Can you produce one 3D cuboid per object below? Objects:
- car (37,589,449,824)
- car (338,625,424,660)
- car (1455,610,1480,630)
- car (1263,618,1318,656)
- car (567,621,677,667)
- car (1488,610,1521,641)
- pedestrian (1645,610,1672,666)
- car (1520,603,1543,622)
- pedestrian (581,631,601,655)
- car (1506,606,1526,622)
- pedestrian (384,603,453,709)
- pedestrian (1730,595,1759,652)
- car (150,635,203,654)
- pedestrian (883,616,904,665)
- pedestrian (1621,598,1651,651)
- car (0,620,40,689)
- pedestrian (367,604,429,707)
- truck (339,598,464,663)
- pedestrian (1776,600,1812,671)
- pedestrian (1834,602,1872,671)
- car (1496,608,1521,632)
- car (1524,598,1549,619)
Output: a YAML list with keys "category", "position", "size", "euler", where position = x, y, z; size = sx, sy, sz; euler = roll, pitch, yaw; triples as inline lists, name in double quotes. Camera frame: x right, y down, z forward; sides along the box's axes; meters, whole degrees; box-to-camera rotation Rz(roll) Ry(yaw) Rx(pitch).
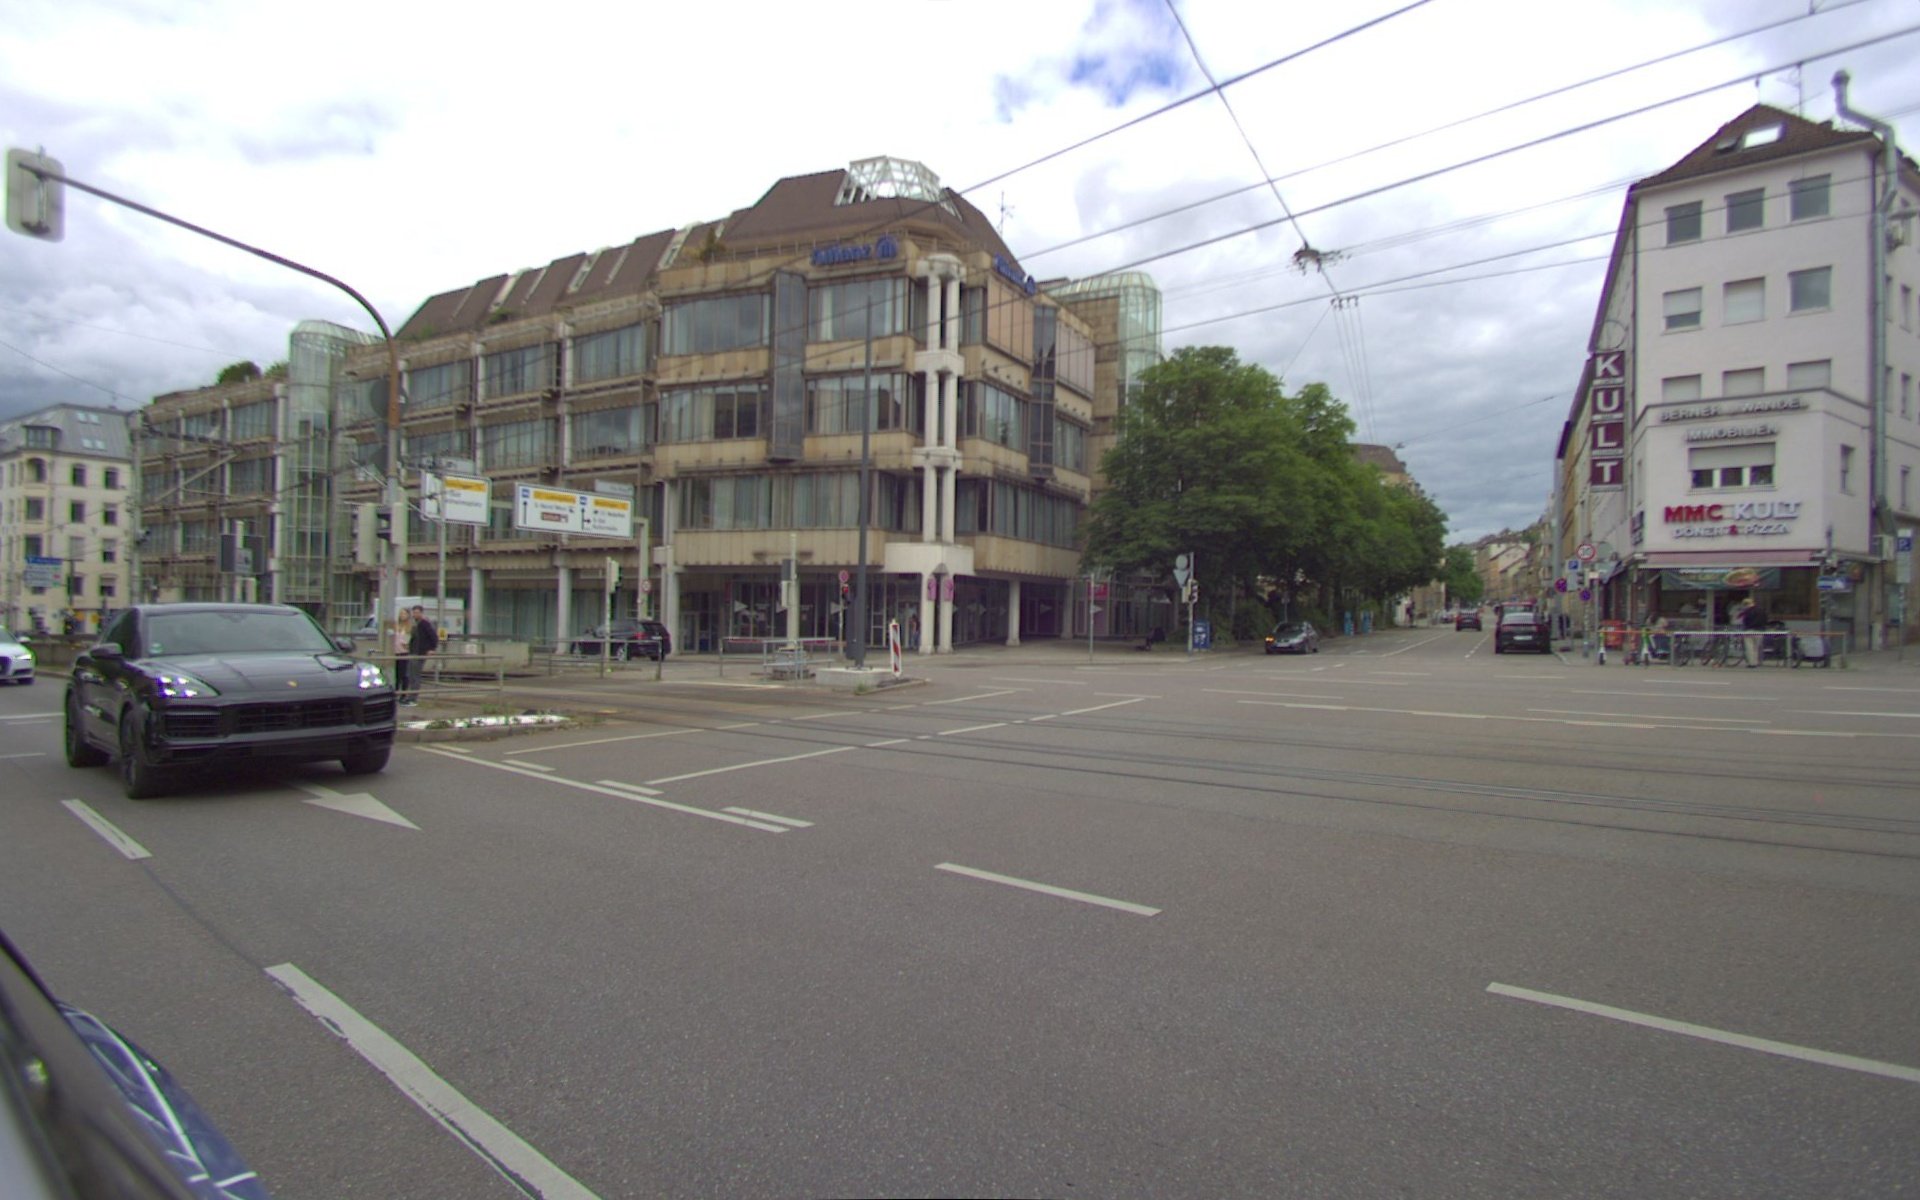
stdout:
- category: "car"
  position: [-7.144, 0.779, 9.805]
  size: [5.349, 1.688, 2.061]
  euler: [0, 0, 41]
- category: "car"
  position: [-26.638, 1.940, 46.520]
  size: [4.523, 1.564, 1.643]
  euler: [-2, -2, 34]
- category: "car"
  position: [45.693, 1.793, 91.095]
  size: [1.917, 1.725, 4.450]
  euler: [-1, -2, 28]
- category: "car"
  position: [14.735, 1.632, 45.009]
  size: [1.939, 1.542, 3.968]
  euler: [-1, 0, 24]
- category: "car"
  position: [-13.957, 1.777, 41.704]
  size: [4.767, 1.772, 1.660]
  euler: [-1, -1, 33]
- category: "car"
  position: [36.931, 1.759, 68.600]
  size: [1.645, 1.724, 3.609]
  euler: [0, -7, 33]
- category: "pedestrian"
  position: [22.750, 1.236, 32.961]
  size: [0.503, 1.793, 0.578]
  euler: [1, -2, -39]
- category: "car"
  position: [53.940, 1.168, 95.455]
  size: [1.645, 1.725, 3.609]
  euler: [-2, -2, 33]
- category: "pedestrian"
  position: [-19.909, 2.313, 54.560]
  size: [0.738, 1.275, 0.724]
  euler: [-1, -1, 34]
- category: "car"
  position: [60.531, 1.528, 110.143]
  size: [1.645, 1.725, 3.609]
  euler: [-2, -2, 33]
- category: "pedestrian"
  position: [-9.144, 0.930, 17.096]
  size: [0.771, 1.734, 0.784]
  euler: [-2, -2, 39]
- category: "pedestrian"
  position: [25.127, 0.752, 32.409]
  size: [0.503, 1.793, 0.599]
  euler: [1, -2, -39]
- category: "car"
  position: [-74.081, 4.198, 95.723]
  size: [1.643, 1.674, 3.564]
  euler: [-1, -2, 29]
- category: "pedestrian"
  position: [-2.472, 1.491, 37.617]
  size: [0.576, 1.793, 0.504]
  euler: [-2, -2, 41]
- category: "pedestrian"
  position: [22.481, 0.821, 33.641]
  size: [0.653, 1.718, 0.773]
  euler: [-2, -2, 45]
- category: "car"
  position: [-23.335, 1.271, 23.751]
  size: [3.994, 1.542, 1.926]
  euler: [-1, -1, 38]
- category: "pedestrian"
  position: [-9.756, 0.946, 17.587]
  size: [0.637, 1.734, 0.757]
  euler: [-2, -2, 39]
- category: "truck"
  position: [-28.635, 1.568, 51.770]
  size: [7.350, 3.100, 2.249]
  euler: [-1, -3, 32]
- category: "pedestrian"
  position: [21.559, 0.914, 26.155]
  size: [0.503, 1.793, 0.578]
  euler: [1, -2, -39]
- category: "pedestrian"
  position: [23.533, 0.959, 26.673]
  size: [0.567, 1.793, 0.513]
  euler: [0, -2, -25]
- category: "car"
  position: [41.856, 1.545, 77.202]
  size: [1.385, 1.753, 3.609]
  euler: [-2, -2, 33]
- category: "car"
  position: [49.716, 0.723, 87.274]
  size: [1.645, 1.725, 3.609]
  euler: [-2, -2, 33]
